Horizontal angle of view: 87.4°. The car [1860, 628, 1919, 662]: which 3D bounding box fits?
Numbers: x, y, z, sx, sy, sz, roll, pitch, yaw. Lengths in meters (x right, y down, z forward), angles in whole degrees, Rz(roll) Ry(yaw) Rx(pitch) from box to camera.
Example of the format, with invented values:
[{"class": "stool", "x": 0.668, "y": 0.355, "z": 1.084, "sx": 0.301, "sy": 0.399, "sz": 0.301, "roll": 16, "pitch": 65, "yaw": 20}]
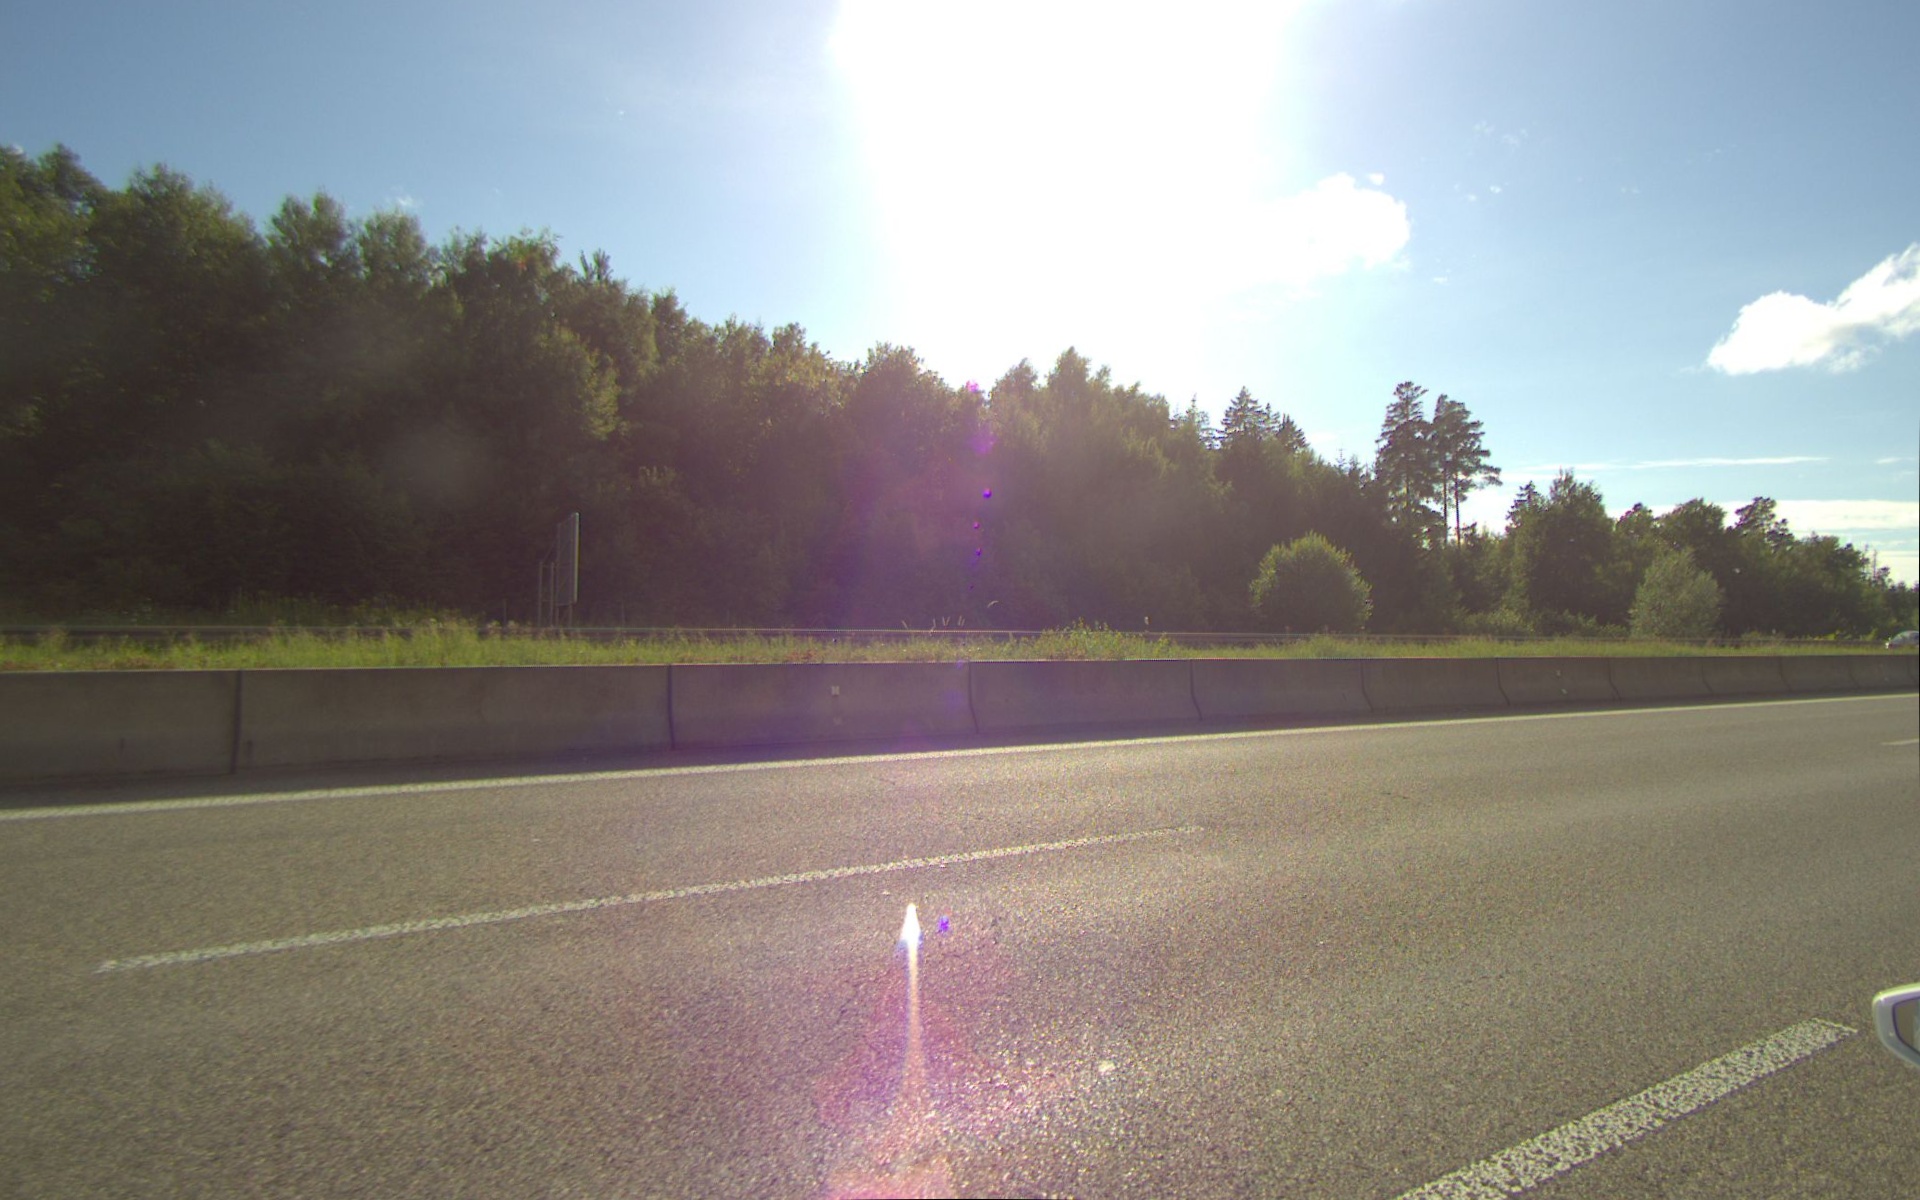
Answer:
[{"class": "car", "x": 50.763, "y": 2.418, "z": 54.284, "sx": 4.000, "sy": 1.770, "sz": 1.985, "roll": 1, "pitch": -1, "yaw": -29}]
